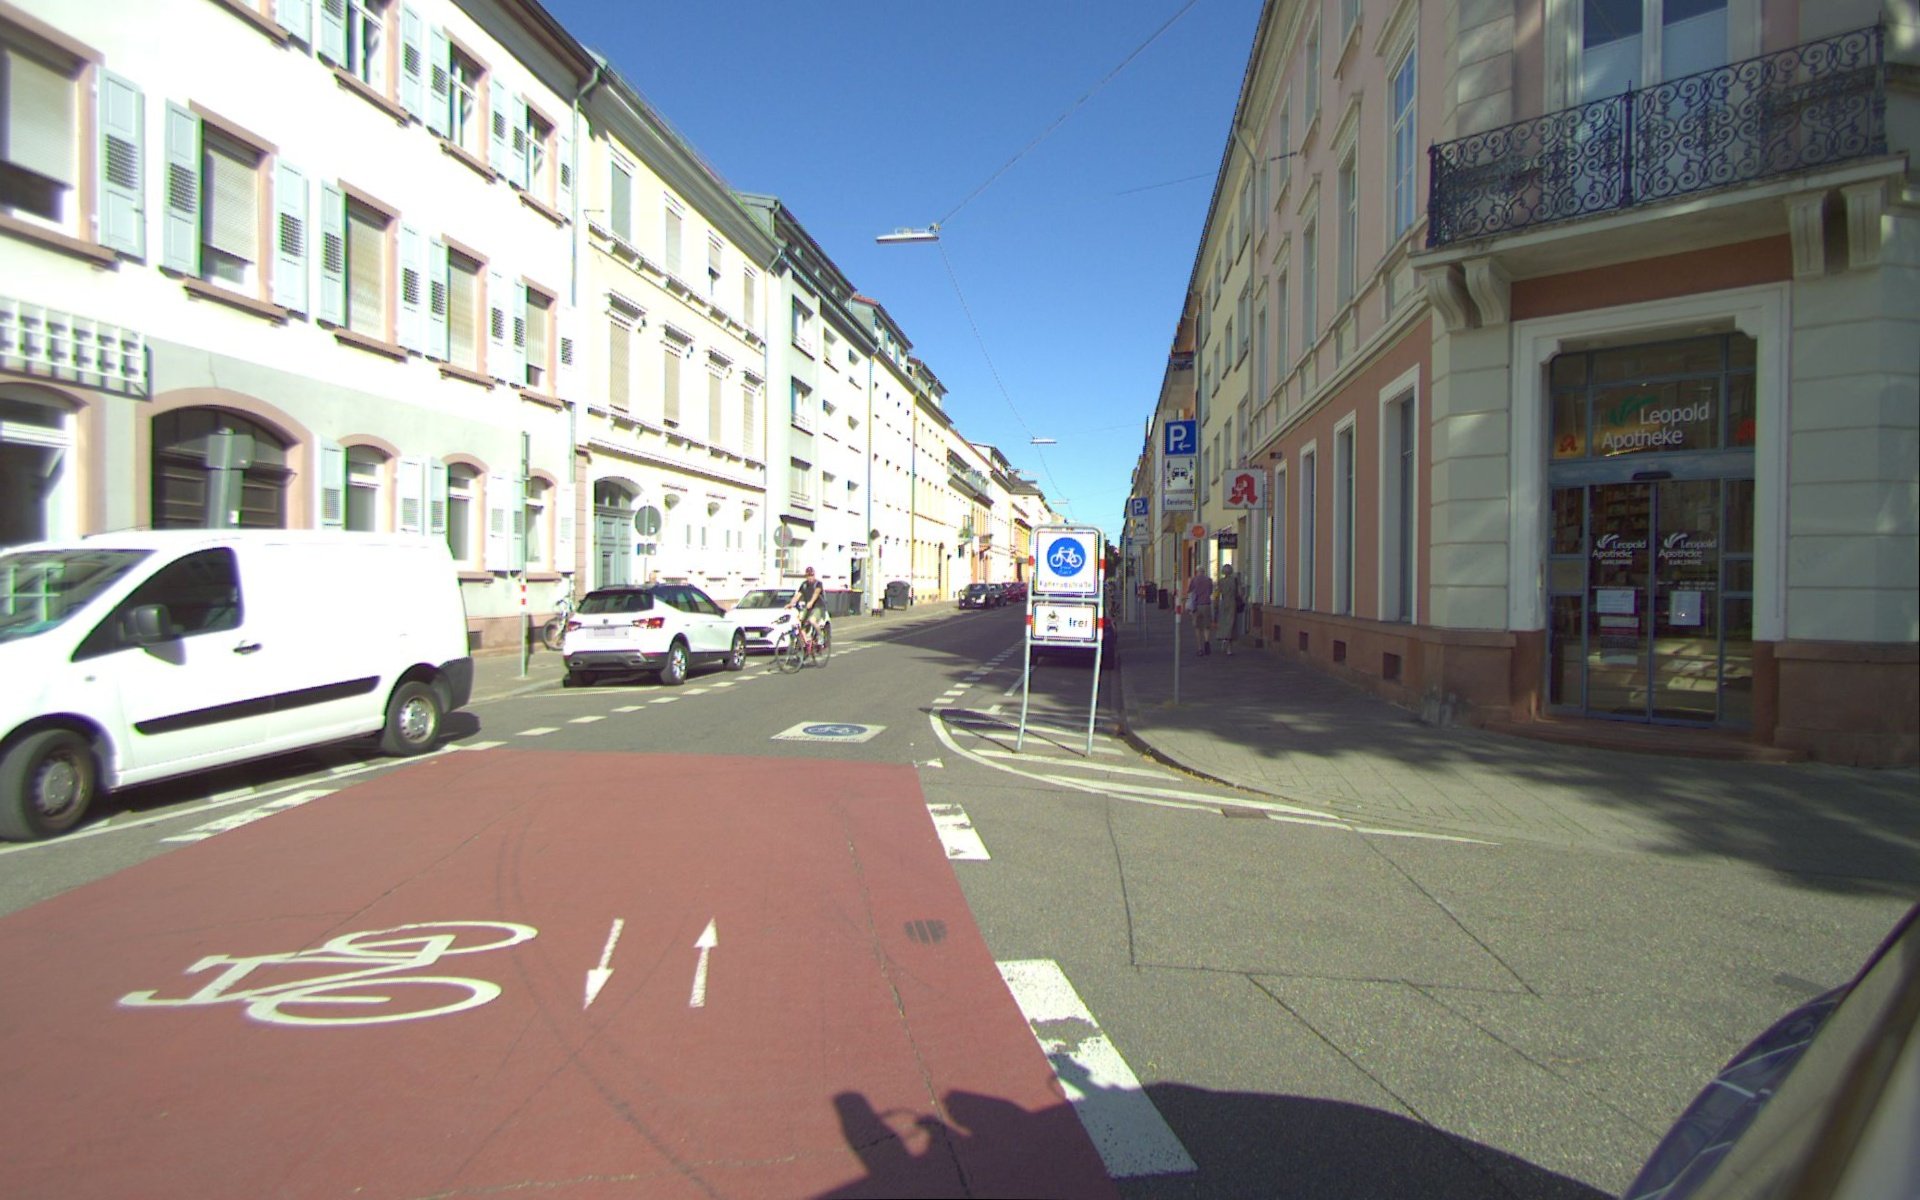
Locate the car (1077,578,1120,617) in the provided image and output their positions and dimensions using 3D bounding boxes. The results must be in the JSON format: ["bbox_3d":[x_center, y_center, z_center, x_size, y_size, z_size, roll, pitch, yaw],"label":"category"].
[{"bbox_3d":[5.907,-0.125,42.928,1.679,1.451,3.631,3,2,9],"label":"car"}]

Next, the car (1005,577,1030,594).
[{"bbox_3d":[4.737,-1.204,82.626,1.679,1.315,3.630,0,1,9],"label":"car"}]

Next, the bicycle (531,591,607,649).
[{"bbox_3d":[-8.032,0.382,20.892,0.410,1.108,2.217,0,1,10],"label":"bicycle"}]

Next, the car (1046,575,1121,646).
[{"bbox_3d":[3.169,0.201,25.543,1.679,1.556,3.631,3,2,9],"label":"car"}]

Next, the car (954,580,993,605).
[{"bbox_3d":[0.774,-0.442,56.456,1.679,1.315,3.630,0,1,9],"label":"car"}]

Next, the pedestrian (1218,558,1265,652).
[{"bbox_3d":[5.488,0.085,19.700,0.820,1.786,0.747,1,1,20],"label":"pedestrian"}]

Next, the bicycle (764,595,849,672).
[{"bbox_3d":[-2.645,0.540,17.660,0.664,1.214,1.914,0,2,19],"label":"bicycle"}]

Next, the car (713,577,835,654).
[{"bbox_3d":[-4.103,0.297,22.887,1.605,1.561,3.630,-1,1,9],"label":"car"}]

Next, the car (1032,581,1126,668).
[{"bbox_3d":[2.458,0.419,20.490,1.679,1.451,3.631,3,2,9],"label":"car"}]

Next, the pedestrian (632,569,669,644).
[{"bbox_3d":[-6.827,0.132,22.354,0.574,1.621,0.638,0,1,6],"label":"pedestrian"}]

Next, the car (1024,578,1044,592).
[{"bbox_3d":[7.232,-1.451,99.137,1.679,1.315,3.630,0,1,9],"label":"car"}]

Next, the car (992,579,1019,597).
[{"bbox_3d":[3.393,-0.910,75.127,1.679,1.315,3.630,0,1,9],"label":"car"}]

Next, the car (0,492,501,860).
[{"bbox_3d":[-5.843,0.370,7.551,2.017,1.970,5.014,0,1,9],"label":"car"}]

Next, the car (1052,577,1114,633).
[{"bbox_3d":[3.769,0.107,30.604,1.679,1.451,3.631,3,2,9],"label":"car"}]

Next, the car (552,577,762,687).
[{"bbox_3d":[-4.798,0.431,16.732,1.618,1.561,4.372,-1,1,9],"label":"car"}]

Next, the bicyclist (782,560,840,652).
[{"bbox_3d":[-2.603,0.087,17.774,0.630,1.566,1.019,0,0,19],"label":"bicyclist"}]

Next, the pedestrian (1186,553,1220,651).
[{"bbox_3d":[4.826,0.035,20.075,0.563,1.880,0.703,-2,0,16],"label":"pedestrian"}]
